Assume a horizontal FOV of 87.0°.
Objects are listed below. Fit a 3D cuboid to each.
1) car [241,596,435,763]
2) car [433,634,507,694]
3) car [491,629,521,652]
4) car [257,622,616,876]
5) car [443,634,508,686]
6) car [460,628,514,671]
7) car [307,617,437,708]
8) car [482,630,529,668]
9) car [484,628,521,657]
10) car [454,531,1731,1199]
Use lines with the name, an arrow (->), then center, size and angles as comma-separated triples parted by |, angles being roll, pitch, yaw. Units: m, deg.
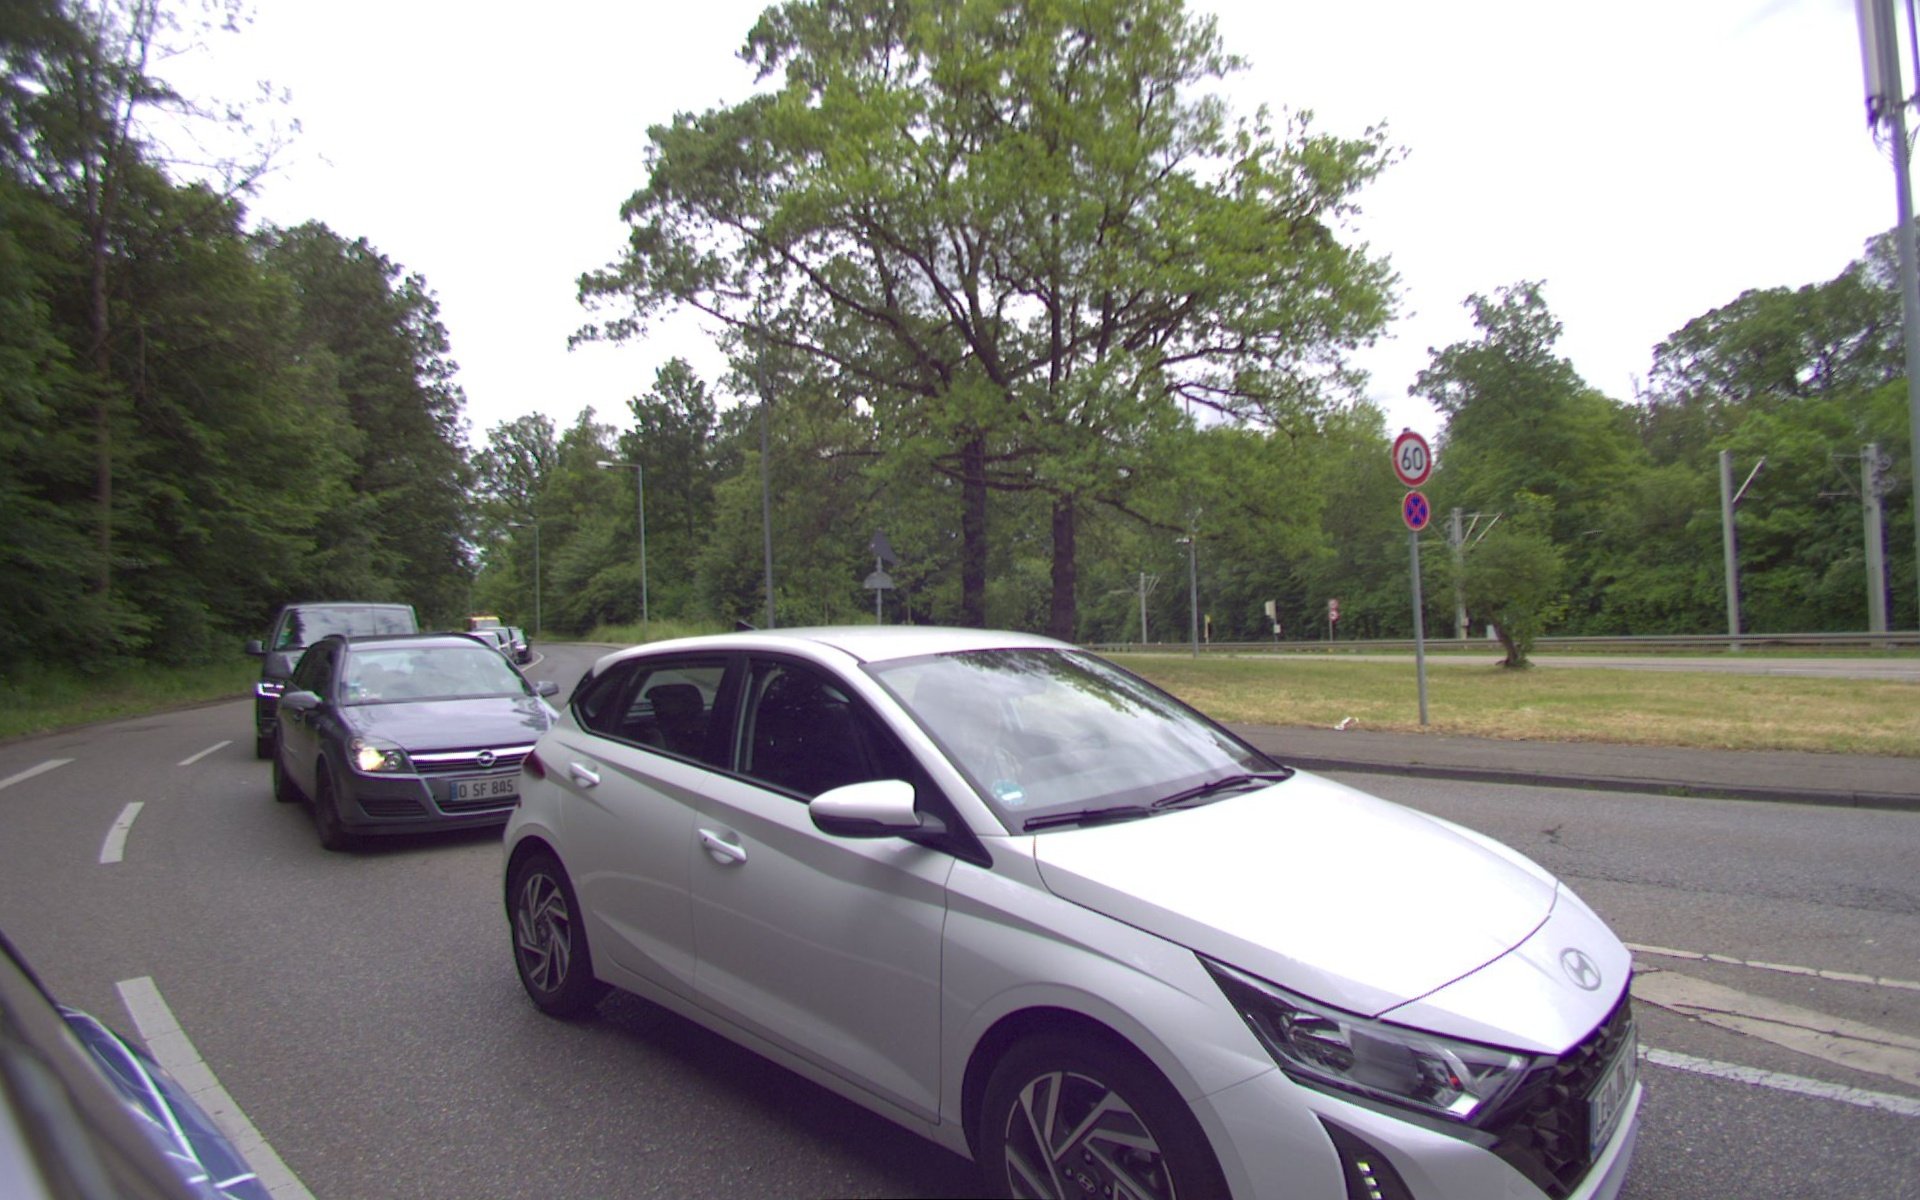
car -> -8.408, 0.982, 13.947 | 1.957, 1.887, 4.545 | 0, -2, -29
car -> -13.689, 1.732, 28.382 | 1.748, 1.511, 3.885 | 0, -2, -25
car -> -31.834, 2.855, 70.971 | 1.749, 1.511, 3.885 | -1, -2, -22
car -> -4.537, 0.980, 8.360 | 1.775, 1.490, 4.478 | 0, -2, -39
car -> -15.394, 1.855, 32.219 | 1.748, 1.511, 3.885 | 0, -2, -25
car -> -17.798, 1.832, 38.129 | 1.748, 1.511, 3.885 | 0, -2, -25
car -> -12.326, 1.253, 21.451 | 1.763, 1.686, 4.003 | -1, -1, -21
car -> -19.389, 2.064, 43.125 | 1.748, 1.511, 3.885 | 0, -2, -25
car -> -25.536, 2.376, 56.570 | 1.749, 1.511, 3.885 | -1, -2, -22
car -> -0.069, 0.724, 3.415 | 4.073, 1.490, 1.631 | -3, -2, 43
